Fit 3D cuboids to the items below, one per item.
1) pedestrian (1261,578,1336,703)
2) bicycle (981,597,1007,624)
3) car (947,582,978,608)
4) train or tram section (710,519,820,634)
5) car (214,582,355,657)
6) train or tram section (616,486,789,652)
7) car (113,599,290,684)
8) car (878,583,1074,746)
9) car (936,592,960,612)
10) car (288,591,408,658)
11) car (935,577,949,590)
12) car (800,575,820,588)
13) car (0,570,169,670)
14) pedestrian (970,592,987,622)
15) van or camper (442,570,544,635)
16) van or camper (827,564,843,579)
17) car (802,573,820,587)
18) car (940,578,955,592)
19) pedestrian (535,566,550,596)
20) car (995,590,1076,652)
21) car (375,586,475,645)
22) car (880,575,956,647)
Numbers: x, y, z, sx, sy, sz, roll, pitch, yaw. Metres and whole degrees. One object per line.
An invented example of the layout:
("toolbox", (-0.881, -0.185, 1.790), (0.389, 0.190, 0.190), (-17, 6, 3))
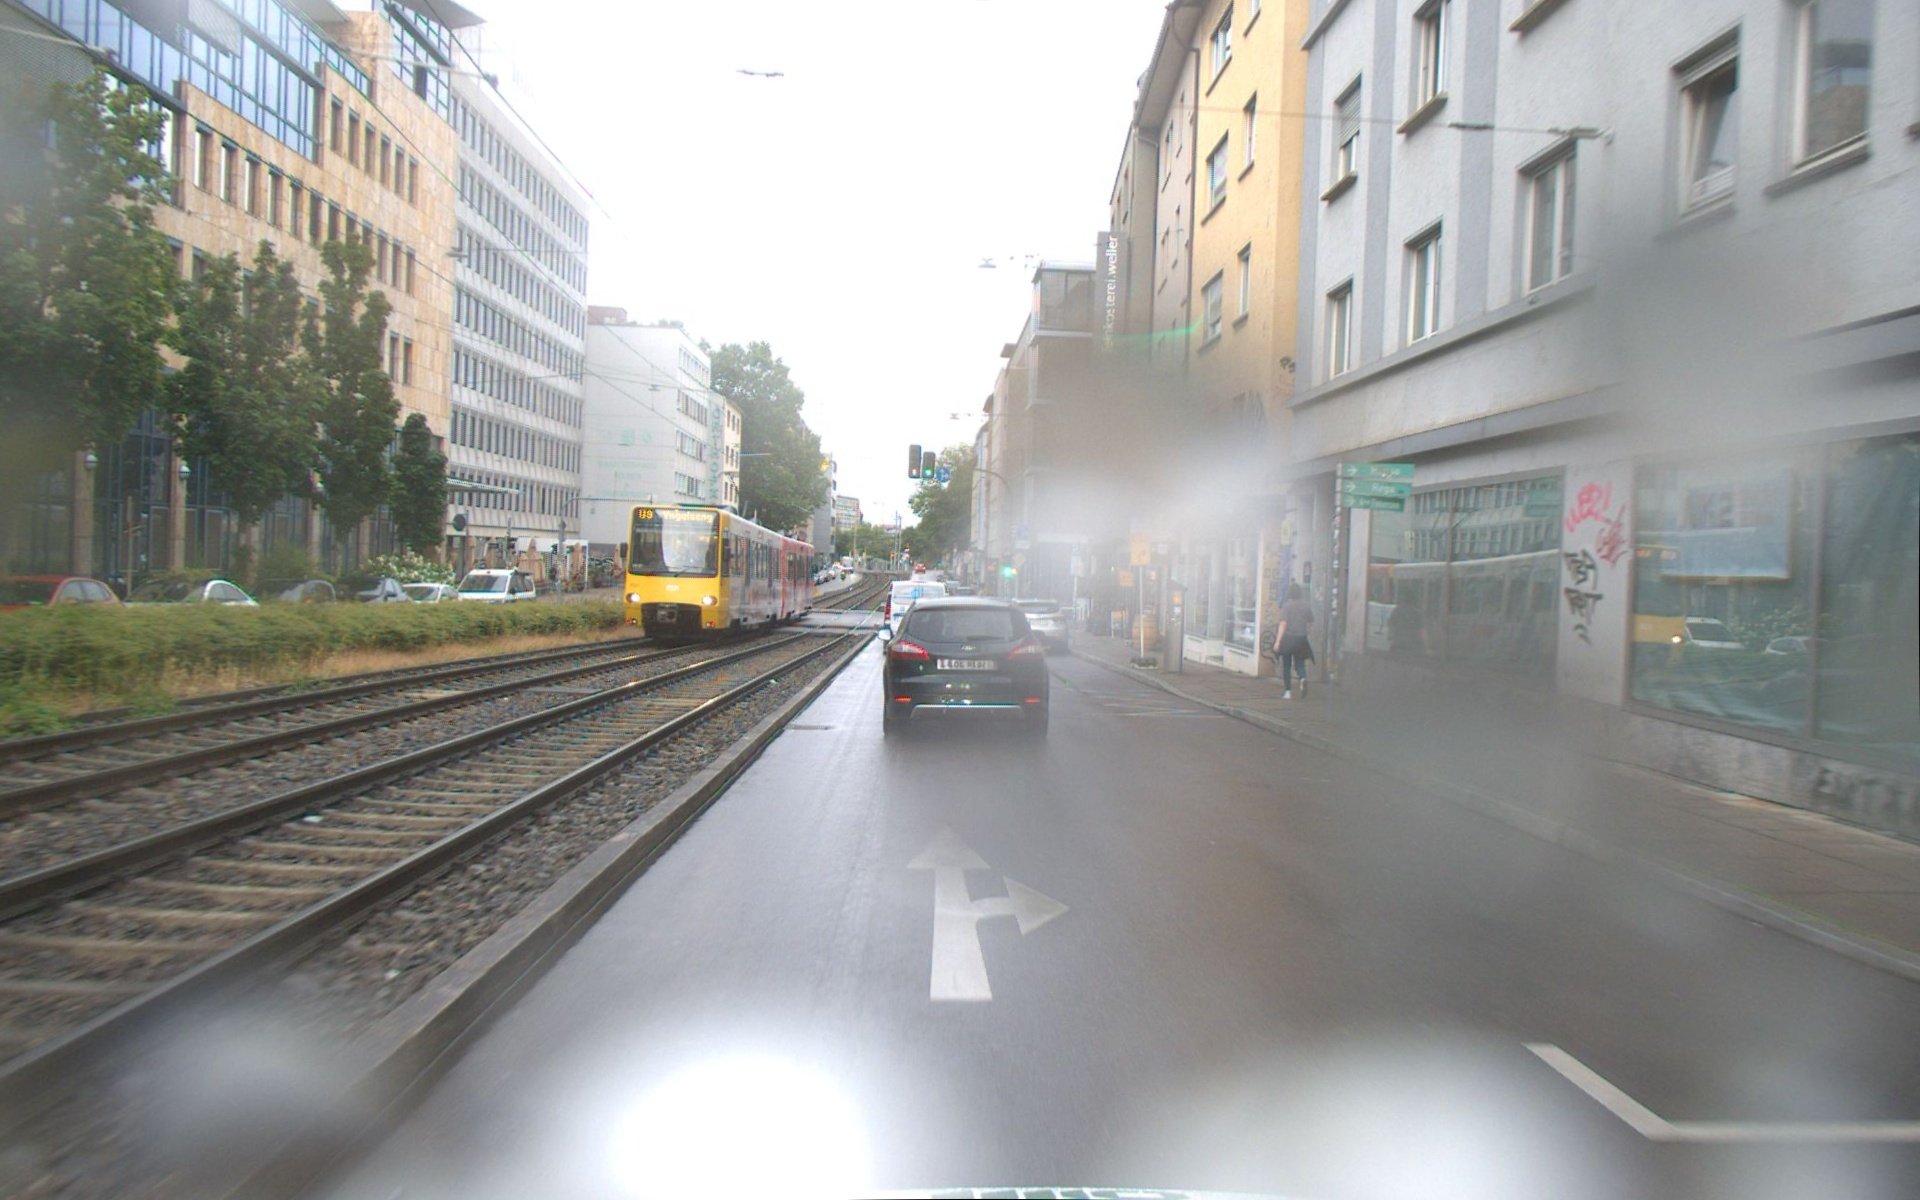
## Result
("pedestrian", (4.818, 0.565, 23.611), (0.775, 1.687, 0.721), (-5, 0, -2))
("bicycle", (1.738, 0.528, 84.309), (0.491, 1.280, 1.940), (2, 0, -26))
("car", (0.146, -0.320, 108.936), (1.953, 1.621, 4.270), (1, 0, -1))
("train or tram section", (-7.871, -0.826, 69.475), (2.843, 4.121, 18.761), (1, 0, -1))
("car", (-15.221, 0.398, 37.481), (1.655, 1.512, 3.998), (2, 1, -3))
("train or tram section", (-7.425, -0.745, 50.761), (2.843, 4.121, 18.405), (1, 0, -1))
("car", (-14.901, 0.766, 32.749), (1.616, 1.524, 4.192), (1, 0, -1))
("car", (0.131, 0.649, 18.860), (1.953, 1.621, 4.270), (1, 0, -1))
("car", (-1.046, 0.141, 140.555), (1.953, 1.621, 4.571), (1, 0, -1))
("car", (-15.580, 0.578, 42.333), (1.655, 1.512, 4.293), (2, 1, -3))
("car", (-2.232, -2.134, 208.349), (1.610, 1.542, 4.038), (2, 1, -2))
("car", (-17.744, -2.196, 195.670), (1.953, 1.545, 4.434), (2, 1, -2))
("car", (-14.929, 0.282, 27.410), (1.616, 1.524, 4.292), (1, 0, -1))
("pedestrian", (0.987, 0.397, 90.644), (0.650, 1.610, 0.774), (1, 0, -23))
("van or camper", (-15.575, 0.099, 55.497), (1.976, 2.032, 5.196), (2, 0, -1))
("van or camper", (-17.692, -4.080, 234.434), (1.953, 2.049, 3.999), (1, 0, -1))
("car", (-18.275, -2.475, 203.200), (1.953, 1.545, 4.434), (2, 1, -2))
("car", (-1.585, -1.841, 203.756), (1.704, 1.515, 3.999), (2, 1, -2))
("pedestrian", (-24.796, -1.114, 98.222), (0.725, 1.767, 0.889), (1, -1, -5))
("car", (2.092, 0.557, 46.878), (1.983, 1.621, 4.620), (1, 0, -1))
("car", (-15.358, 0.418, 47.687), (1.655, 1.512, 4.254), (2, 1, -3))
("car", (-1.113, 0.291, 45.669), (1.953, 1.848, 4.271), (1, 0, 0))
